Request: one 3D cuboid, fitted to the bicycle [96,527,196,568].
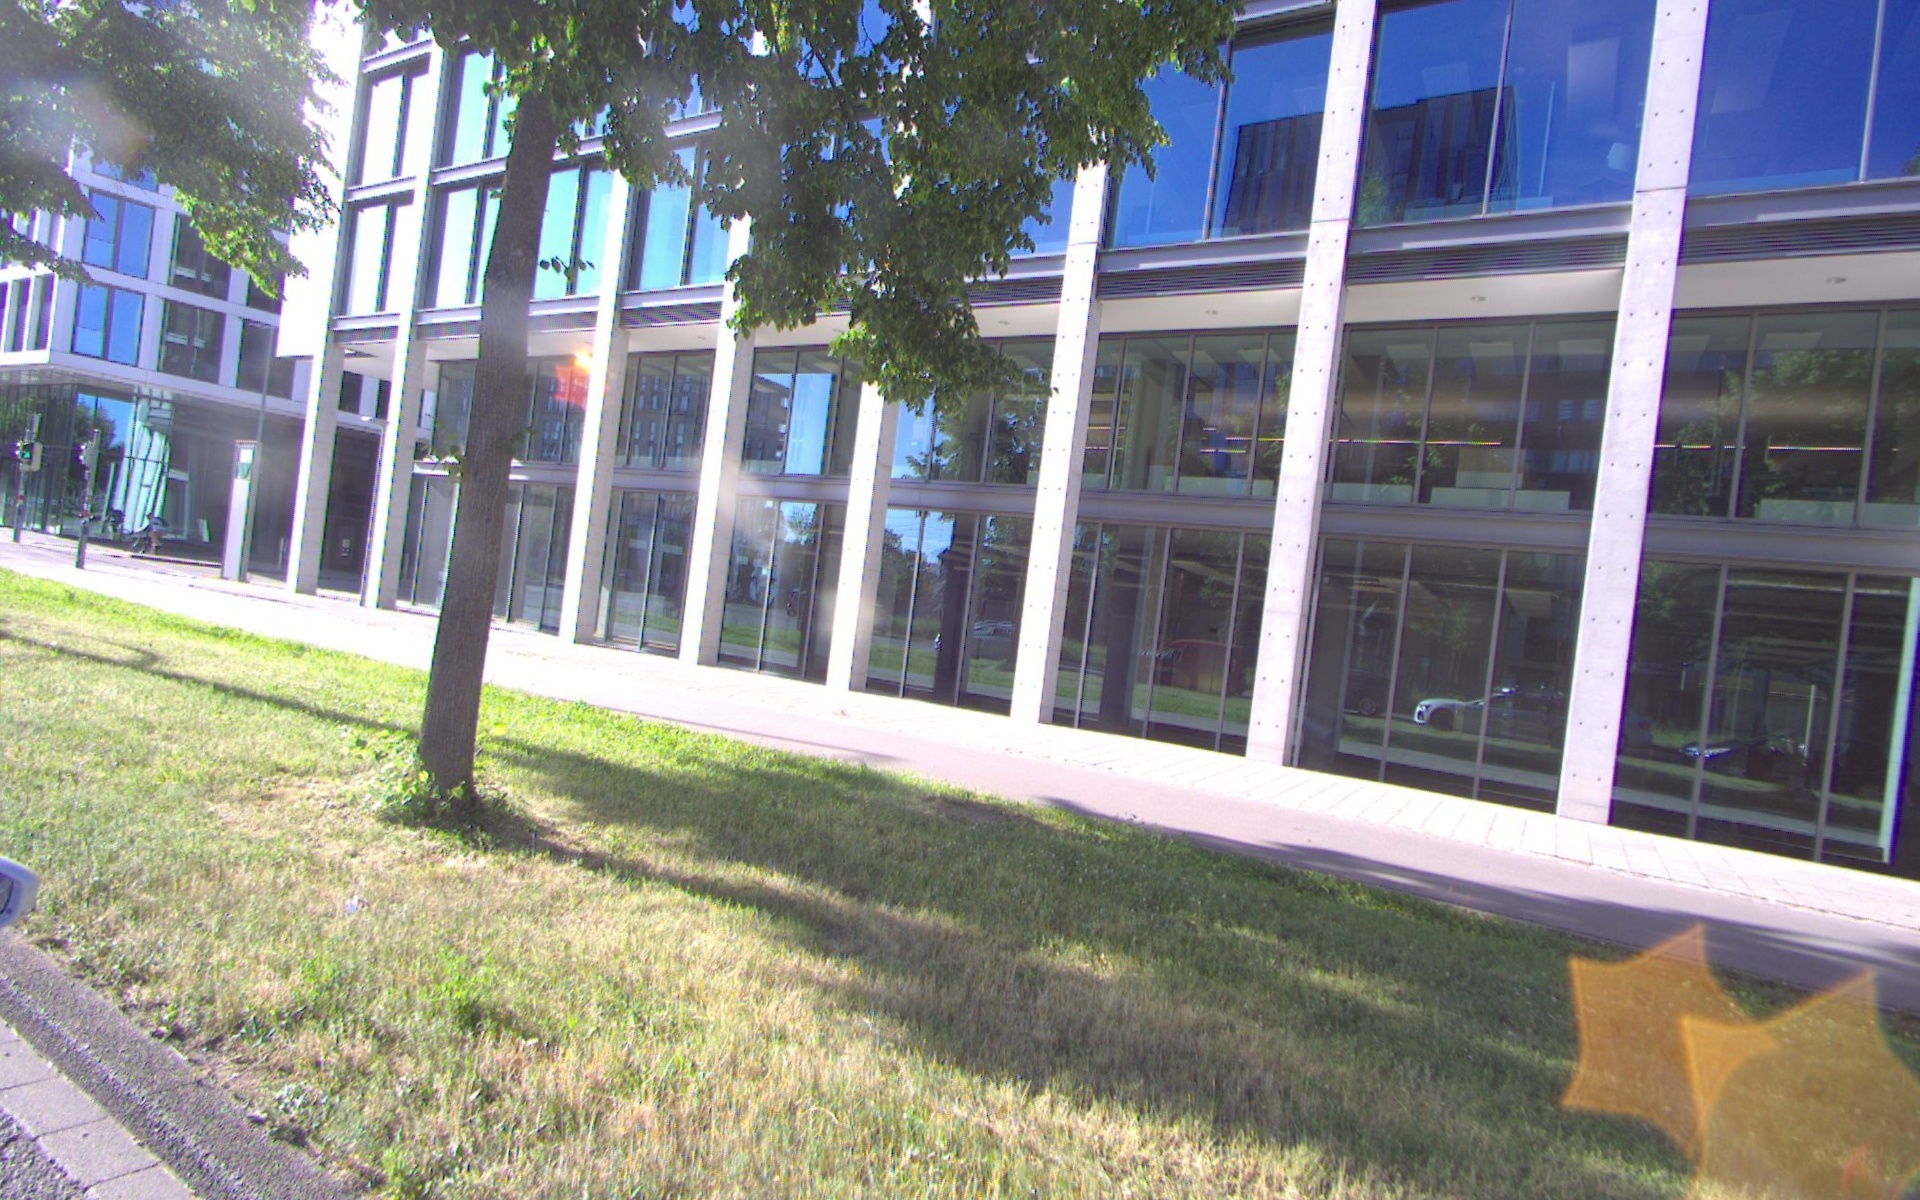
[{"bbox_3d":[-30.937,-1.979,38.285,2.830,1.128,0.810,8,-1,-45],"label":"bicycle"}]

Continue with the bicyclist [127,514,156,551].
[{"bbox_3d":[-31.022,-2.544,38.136,0.678,1.290,0.810,7,0,-44],"label":"bicyclist"}]
